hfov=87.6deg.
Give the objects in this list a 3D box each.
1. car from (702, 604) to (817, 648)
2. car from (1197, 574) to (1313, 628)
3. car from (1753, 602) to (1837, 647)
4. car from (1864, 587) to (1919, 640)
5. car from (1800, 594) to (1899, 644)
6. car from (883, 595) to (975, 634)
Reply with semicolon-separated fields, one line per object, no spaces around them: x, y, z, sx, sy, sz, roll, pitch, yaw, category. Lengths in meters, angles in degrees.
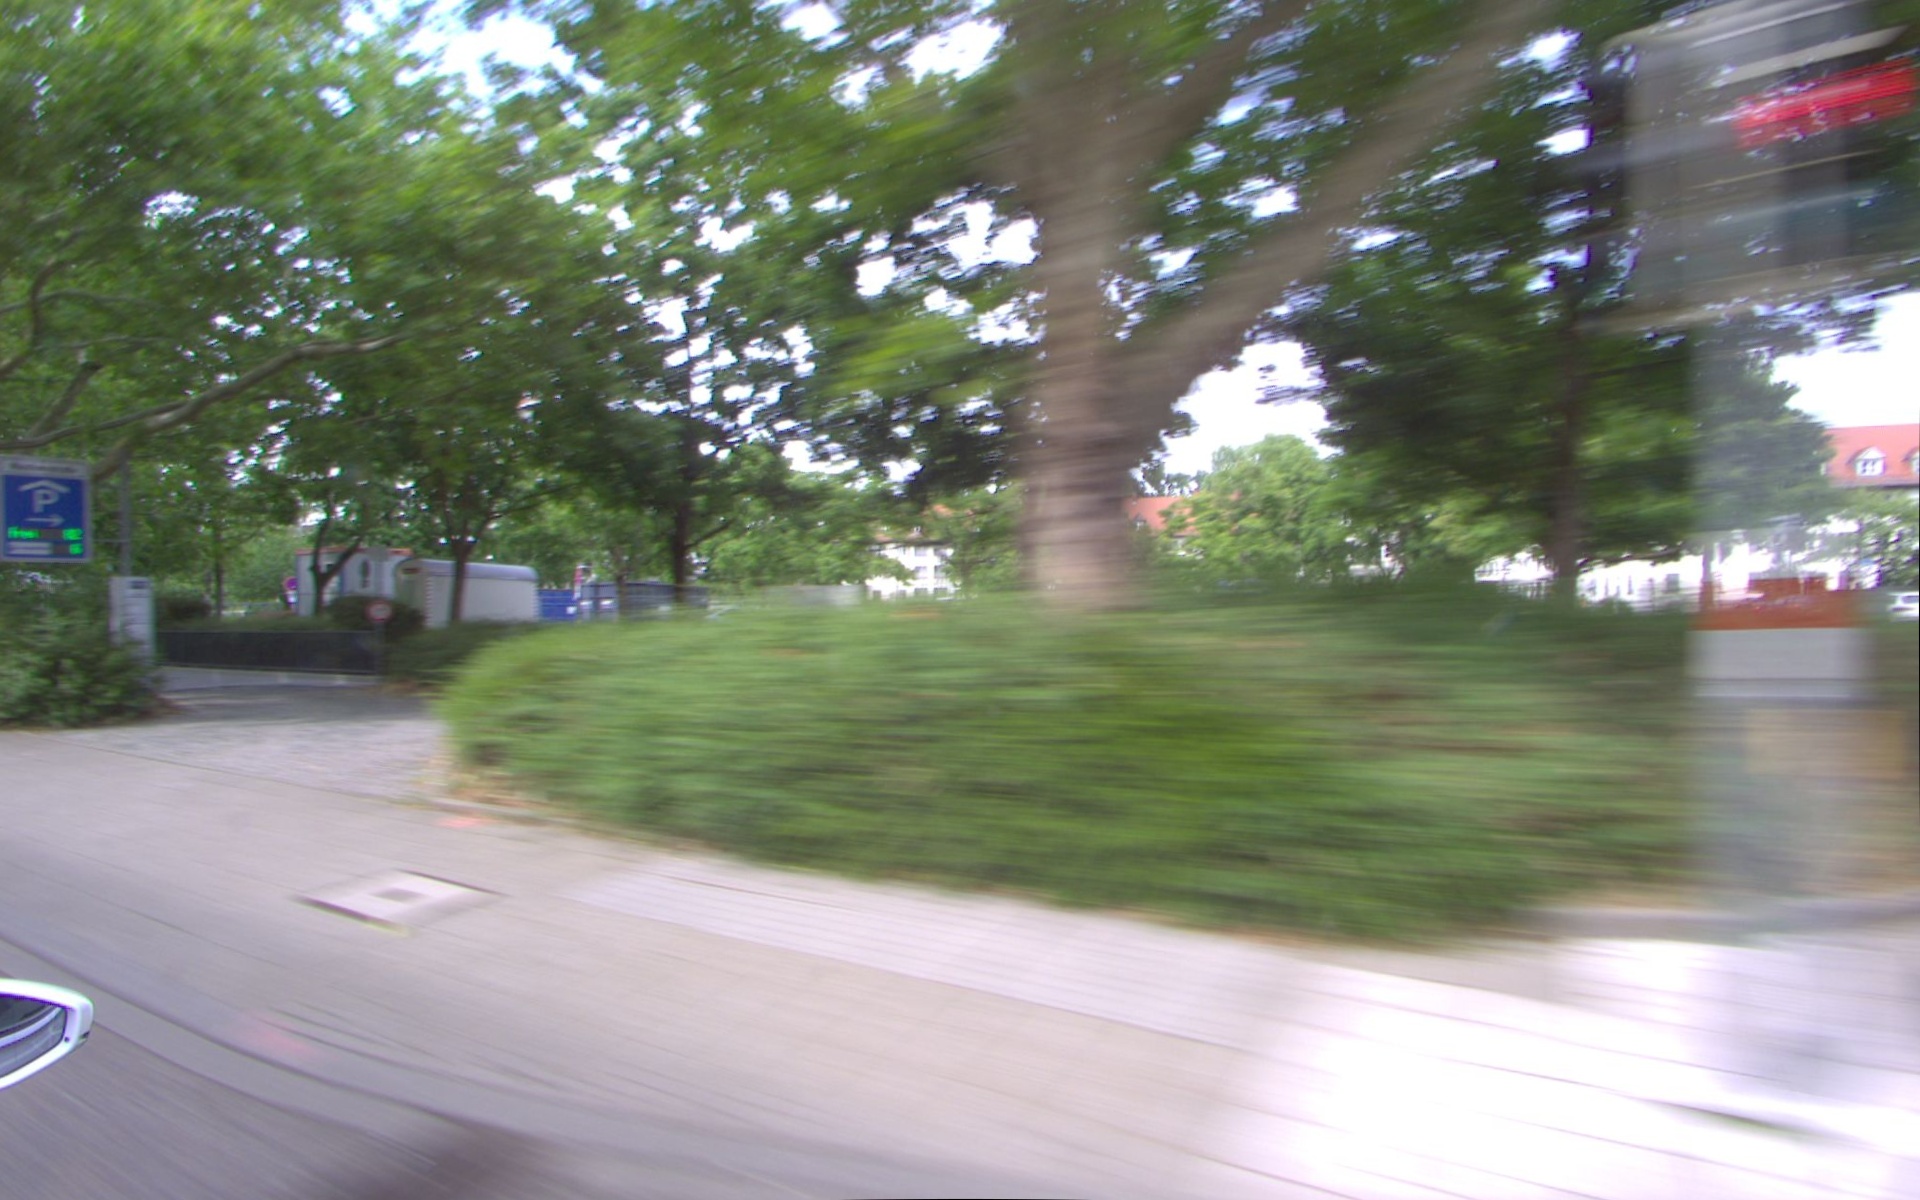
-8.660;1.111;43.154;4.700;1.817;1.992;0;-2;29;car
15.410;0.082;52.418;5.414;2.647;2.433;0;-2;30;car
39.926;1.214;47.990;1.966;2.039;3.991;0;-2;23;car
36.034;0.559;37.599;1.921;1.885;3.871;0;-2;23;car
37.819;0.841;42.697;1.966;2.039;3.991;0;-2;23;car
-1.730;0.795;55.286;4.698;2.039;1.993;0;-2;28;car
